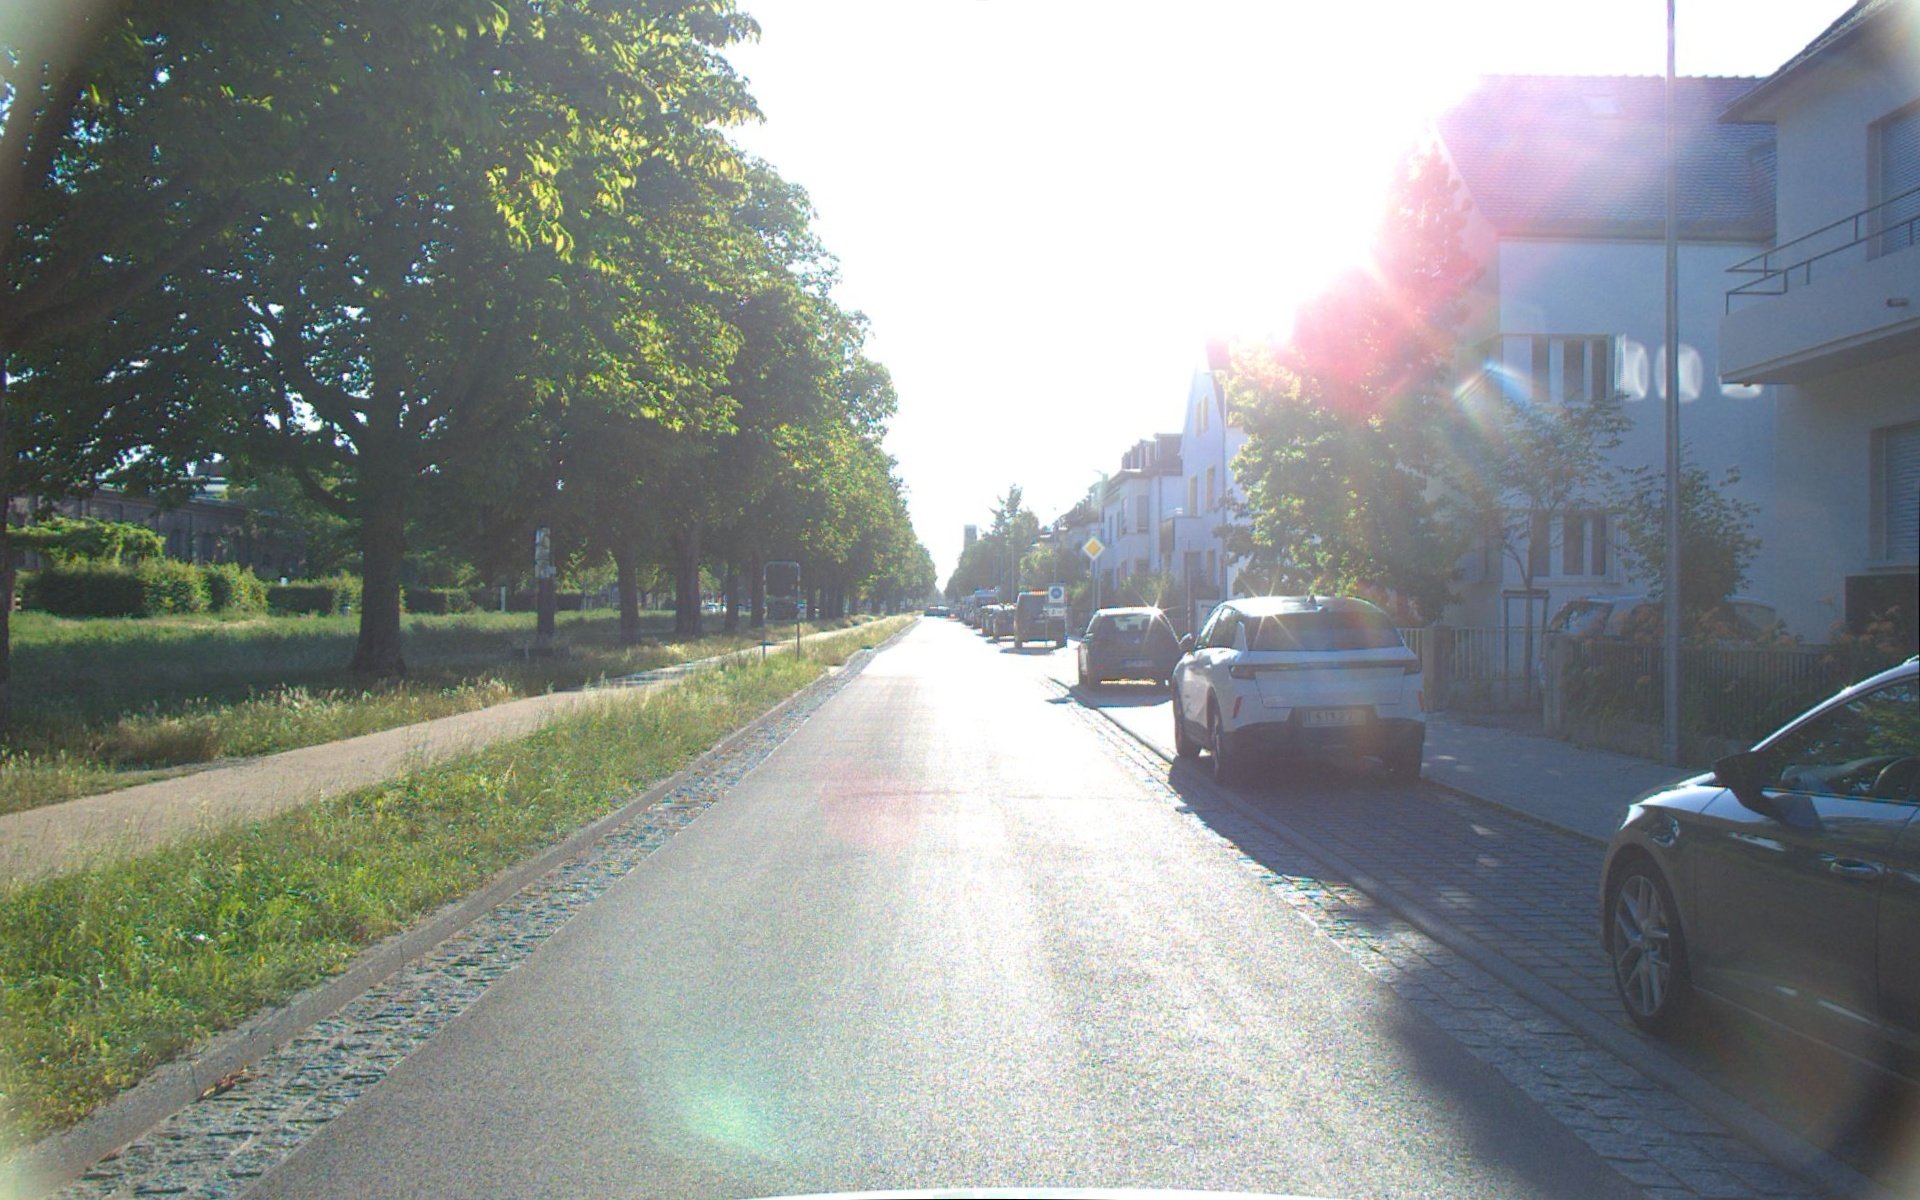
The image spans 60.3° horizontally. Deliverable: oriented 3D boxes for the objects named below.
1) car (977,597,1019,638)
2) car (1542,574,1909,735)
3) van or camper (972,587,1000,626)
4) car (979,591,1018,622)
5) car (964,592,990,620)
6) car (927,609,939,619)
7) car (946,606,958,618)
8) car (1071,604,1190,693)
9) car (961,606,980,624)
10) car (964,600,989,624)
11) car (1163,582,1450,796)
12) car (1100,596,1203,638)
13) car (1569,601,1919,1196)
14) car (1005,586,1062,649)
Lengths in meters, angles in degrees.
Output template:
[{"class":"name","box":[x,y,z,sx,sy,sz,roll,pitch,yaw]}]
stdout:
[{"class":"car","box":[1.734,0.799,77.673,1.757,1.802,4.471,-2,0,-1]},{"class":"car","box":[9.812,0.671,21.364,3.906,1.877,1.813,2,1,-7]},{"class":"van or camper","box":[1.890,0.519,123.082,1.904,2.826,5.938,1,-1,0]},{"class":"car","box":[2.075,0.387,89.912,1.684,1.601,4.206,-2,-1,-4]},{"class":"car","box":[1.534,0.549,153.289,2.084,2.577,5.186,-1,0,-3]},{"class":"car","box":[-4.183,2.138,254.405,1.616,1.557,3.851,3,0,0]},{"class":"car","box":[-1.168,1.772,240.909,1.616,1.557,3.851,3,0,0]},{"class":"car","box":[3.150,0.863,31.268,1.757,1.508,4.123,-2,0,0]},{"class":"car","box":[0.937,1.334,147.210,1.616,1.557,3.851,-1,0,0]},{"class":"car","box":[1.162,0.814,116.388,1.630,1.621,4.085,1,0,0]},{"class":"car","box":[3.189,0.726,16.178,1.866,1.738,4.576,-2,1,1]},{"class":"car","box":[8.238,0.722,71.195,4.134,1.756,1.851,-1,-1,-4]},{"class":"car","box":[3.380,0.780,4.569,1.757,1.520,4.193,-2,0,-1]},{"class":"car","box":[2.687,0.625,61.297,1.867,2.169,4.814,-2,0,0]}]
